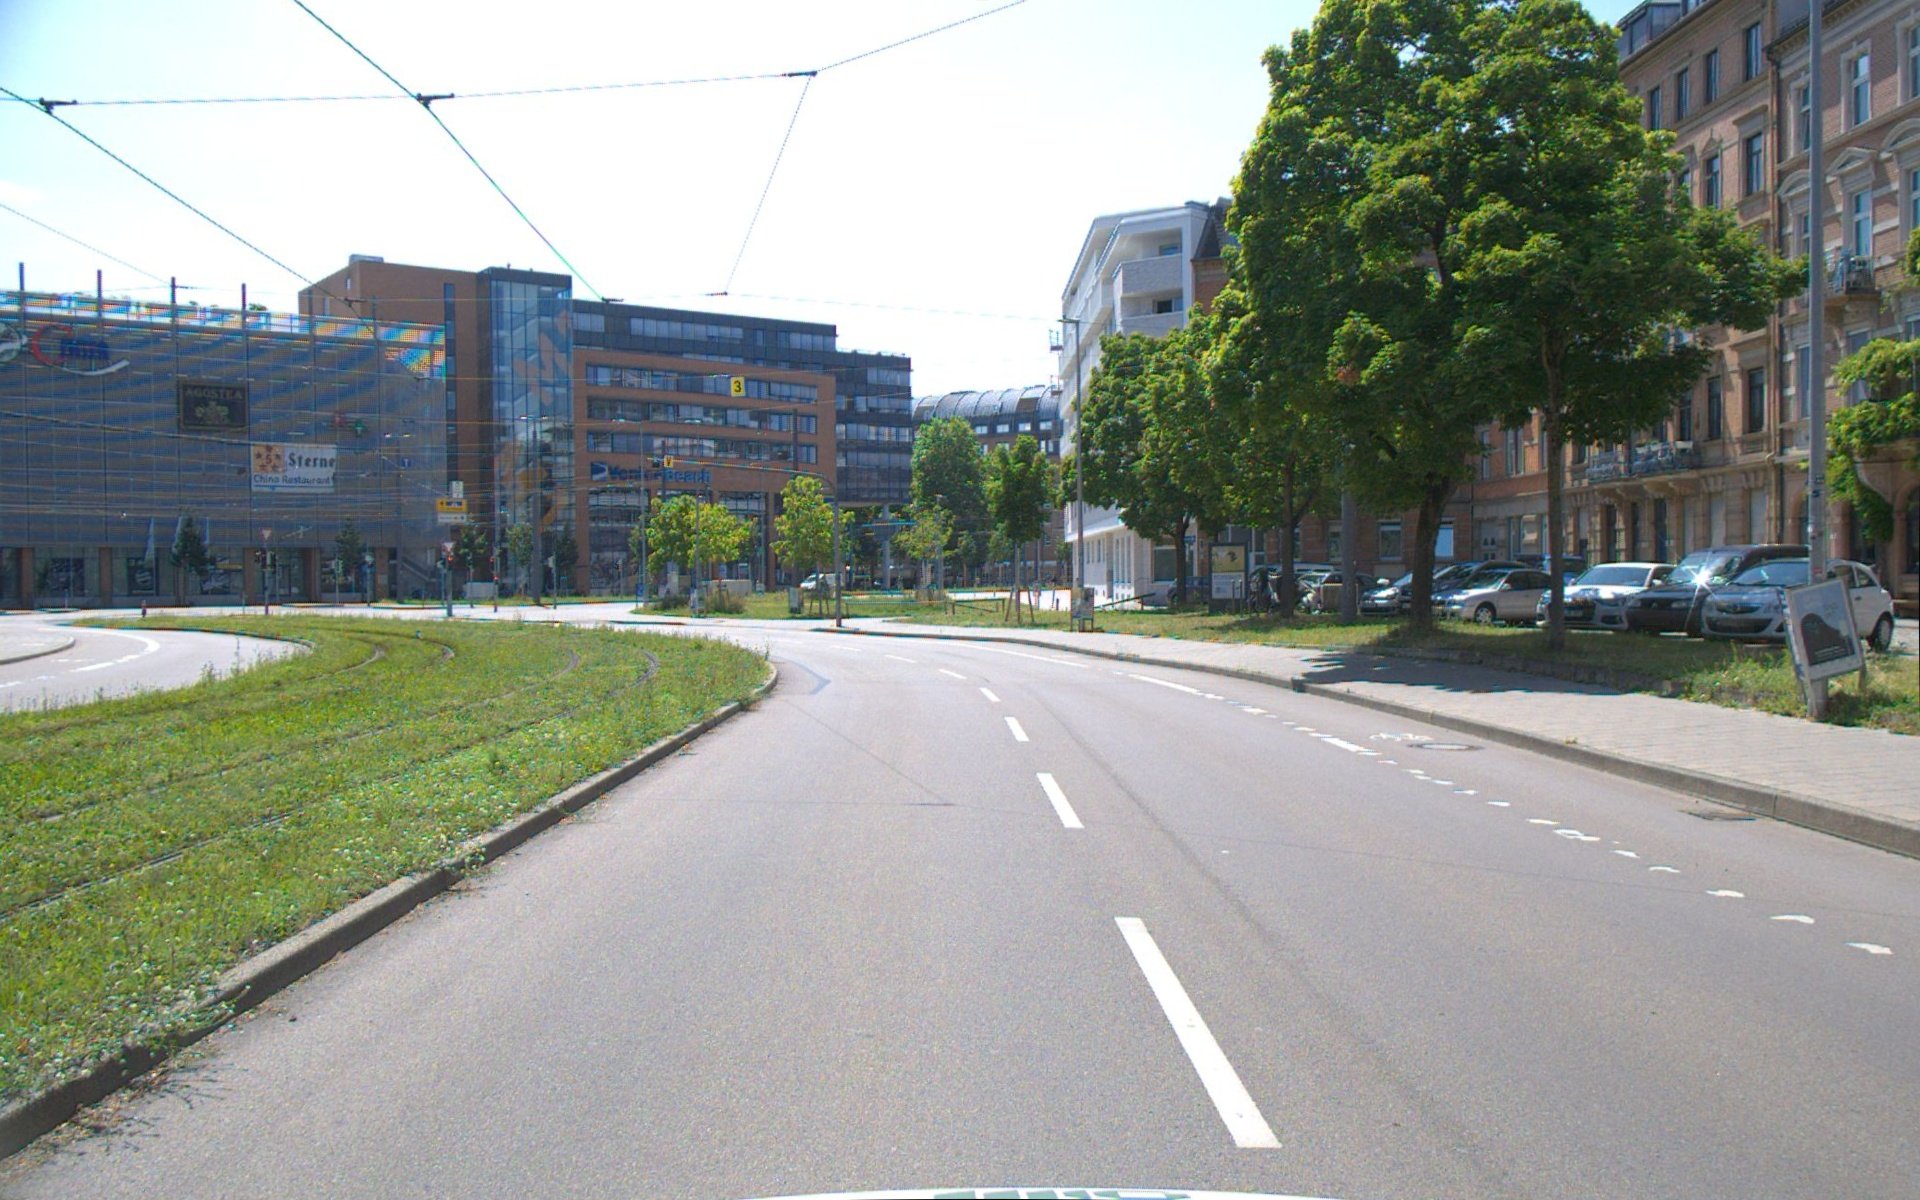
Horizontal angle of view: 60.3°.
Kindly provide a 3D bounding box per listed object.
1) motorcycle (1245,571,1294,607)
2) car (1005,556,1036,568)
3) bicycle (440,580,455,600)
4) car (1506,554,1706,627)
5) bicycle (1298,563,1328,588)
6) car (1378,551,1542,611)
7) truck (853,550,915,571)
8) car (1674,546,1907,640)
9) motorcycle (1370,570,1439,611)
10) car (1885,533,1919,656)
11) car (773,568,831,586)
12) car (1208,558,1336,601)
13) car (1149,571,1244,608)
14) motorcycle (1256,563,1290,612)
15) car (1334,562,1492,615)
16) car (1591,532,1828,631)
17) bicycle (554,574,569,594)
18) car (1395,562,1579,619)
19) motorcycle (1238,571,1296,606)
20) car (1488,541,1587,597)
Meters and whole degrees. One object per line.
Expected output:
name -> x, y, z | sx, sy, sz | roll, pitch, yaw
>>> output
motorcycle -> 10.025, -0.361, 53.546 | 1.489, 1.140, 0.478 | 0, 1, -2
car -> 8.660, -5.421, 236.931 | 3.912, 1.758, 1.863 | 1, 1, 30
bicycle -> -44.710, -0.864, 144.242 | 0.594, 1.761, 2.230 | 0, 1, -37
car -> 12.902, -0.202, 32.888 | 2.113, 1.336, 4.756 | 1, 1, 43
bicycle -> 11.813, -0.810, 55.334 | 0.488, 0.819, 1.452 | 1, 1, 33
car -> 12.920, -0.485, 42.685 | 4.033, 1.495, 1.781 | 0, 1, -29
truck -> -10.536, -5.449, 228.197 | 9.041, 2.858, 1.996 | 1, 1, 31
car -> 13.576, -0.131, 26.974 | 3.951, 1.424, 1.693 | 0, 1, -34
motorcycle -> 13.710, -0.283, 51.052 | 2.034, 1.257, 0.813 | 0, 0, 14
car -> 13.508, -0.068, 20.502 | 4.644, 1.452, 1.946 | 0, 1, -38
car -> -14.864, -2.168, 155.941 | 5.439, 1.697, 1.968 | -1, 1, -44
car -> 12.052, -0.783, 63.772 | 4.804, 1.628, 1.819 | 0, 1, -29
car -> 11.006, -0.507, 77.005 | 4.039, 1.653, 1.693 | 1, 1, 29
motorcycle -> 9.458, -0.387, 50.003 | 0.661, 1.437, 1.857 | -2, 1, 0
car -> 12.463, -0.335, 45.450 | 4.283, 1.400, 1.569 | 0, 1, -27
car -> 13.722, -0.340, 30.265 | 3.940, 1.691, 1.955 | 0, 1, -27
bicycle -> -36.716, -1.465, 152.414 | 0.481, 1.828, 2.230 | 0, 1, -36
car -> 12.694, -0.238, 39.862 | 3.933, 1.336, 1.958 | 0, 1, -23
motorcycle -> 10.129, -0.381, 54.596 | 1.788, 1.140, 0.527 | 0, 1, -8
car -> 20.711, -1.112, 59.485 | 1.880, 1.937, 4.654 | 0, 1, -1
